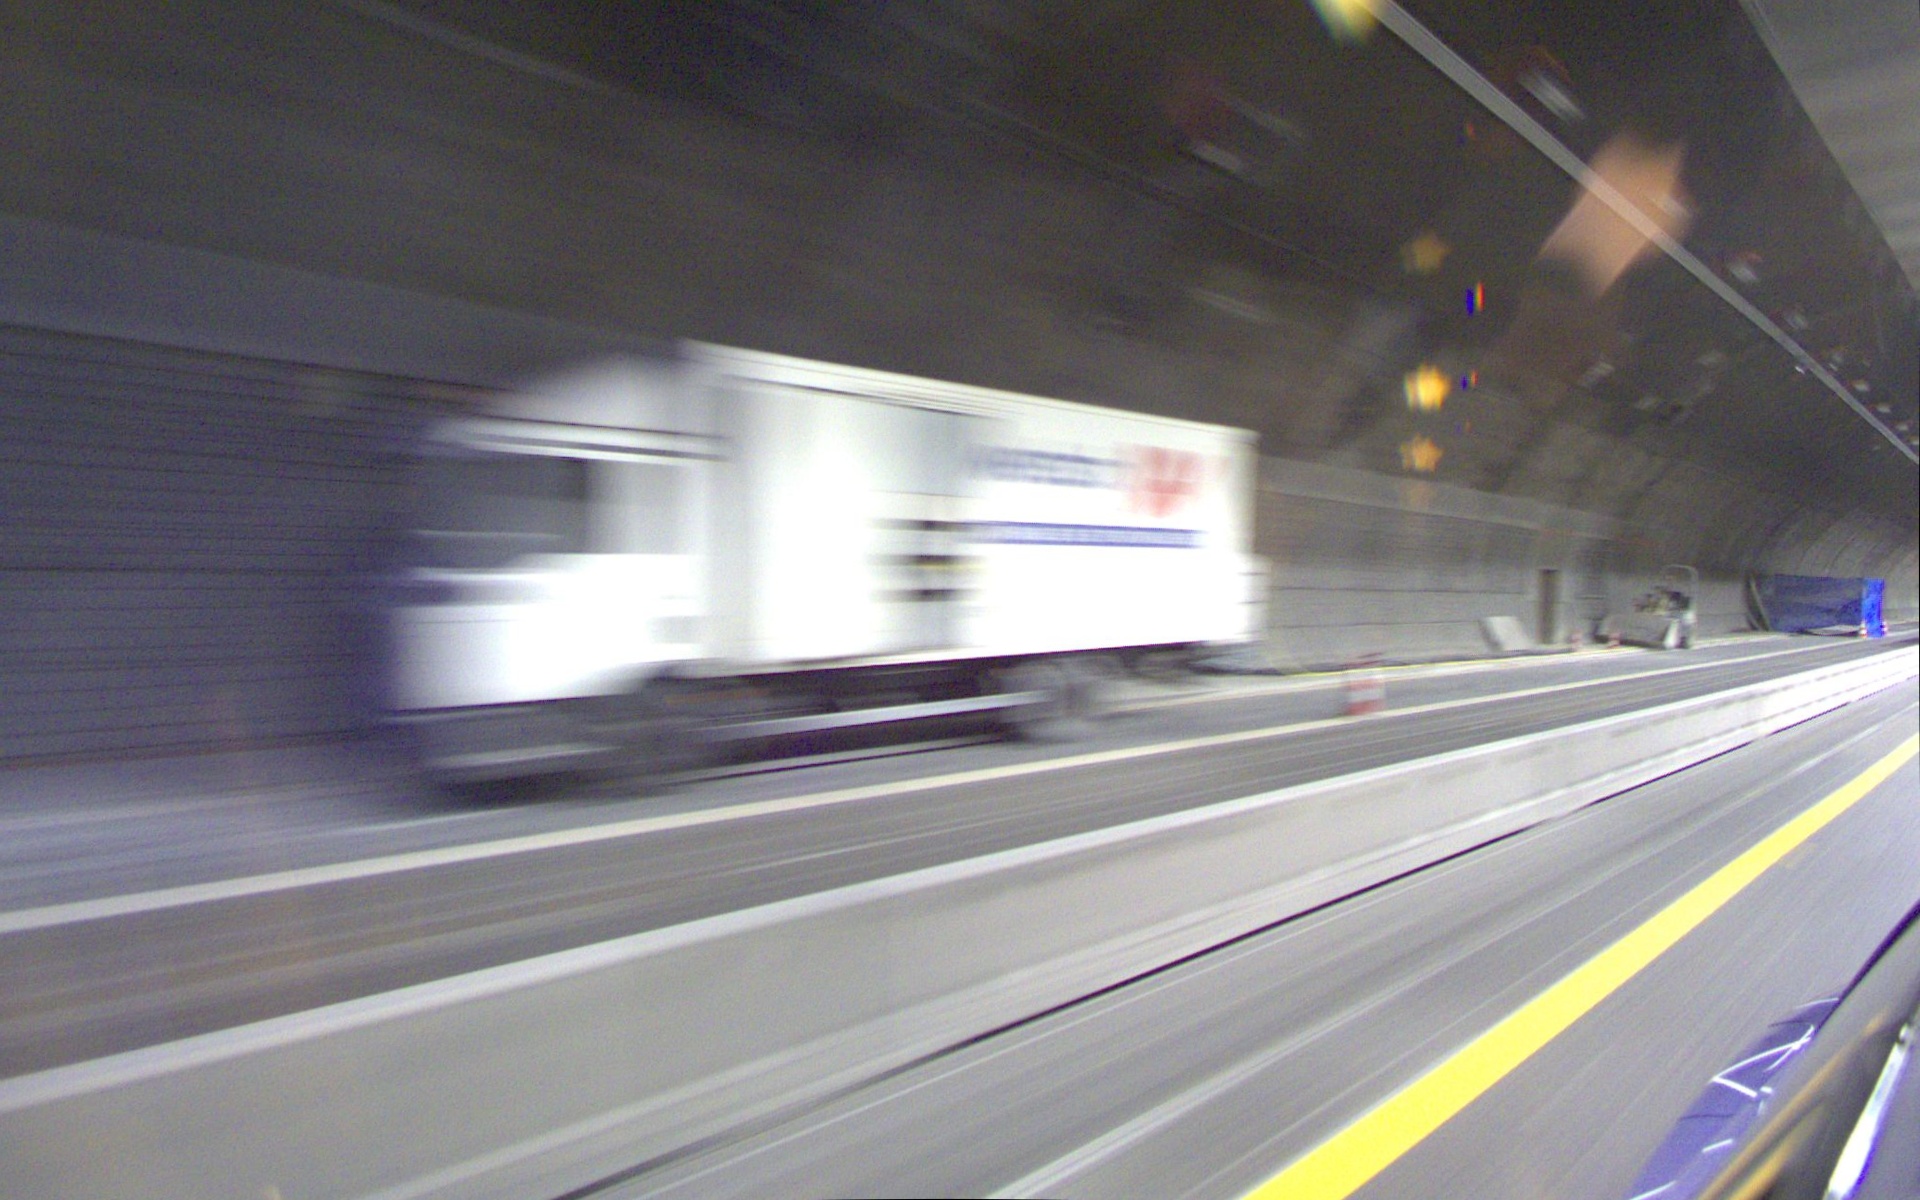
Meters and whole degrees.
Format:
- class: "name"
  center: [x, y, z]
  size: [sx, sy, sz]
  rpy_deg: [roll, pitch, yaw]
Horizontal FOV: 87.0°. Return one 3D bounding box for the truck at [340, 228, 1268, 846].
- class: "truck"
  center: [-0.664, -0.382, 9.259]
  size: [8.209, 3.327, 2.822]
  rpy_deg: [-1, 0, -42]
